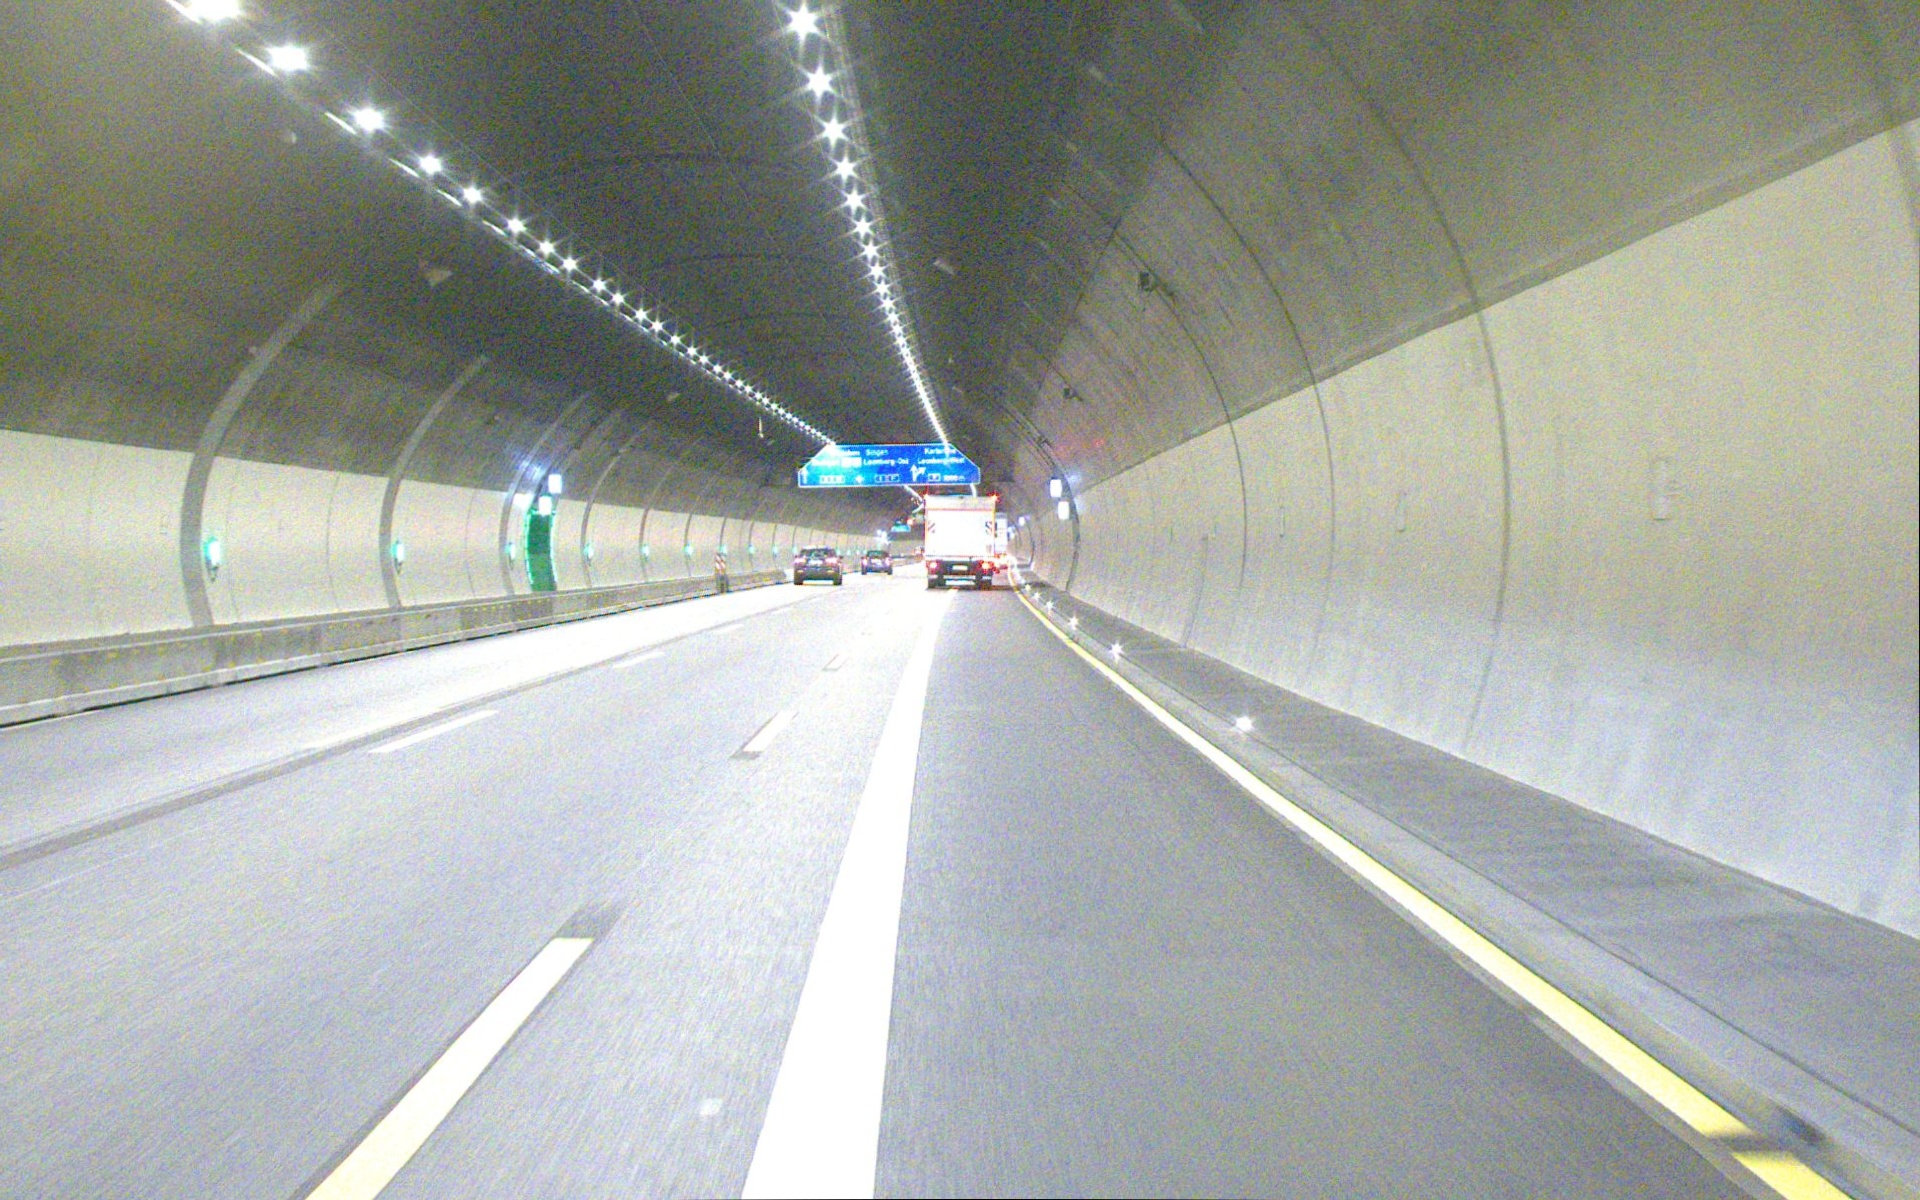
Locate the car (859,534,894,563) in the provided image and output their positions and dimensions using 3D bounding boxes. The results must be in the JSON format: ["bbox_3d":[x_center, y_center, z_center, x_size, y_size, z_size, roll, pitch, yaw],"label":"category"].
[{"bbox_3d":[-4.723,-2.917,194.244,1.812,1.514,4.001,0,3,-3],"label":"car"}]

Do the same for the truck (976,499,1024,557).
[{"bbox_3d":[2.846,-5.219,249.426,2.922,4.034,14.031,-2,1,-1],"label":"truck"}]

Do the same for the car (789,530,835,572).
[{"bbox_3d":[-5.958,-1.994,138.785,1.812,1.612,4.001,0,1,-2],"label":"car"}]

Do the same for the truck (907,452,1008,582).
[{"bbox_3d":[-0.220,-3.184,133.198,3.278,4.634,17.288,-2,1,-2],"label":"truck"}]
